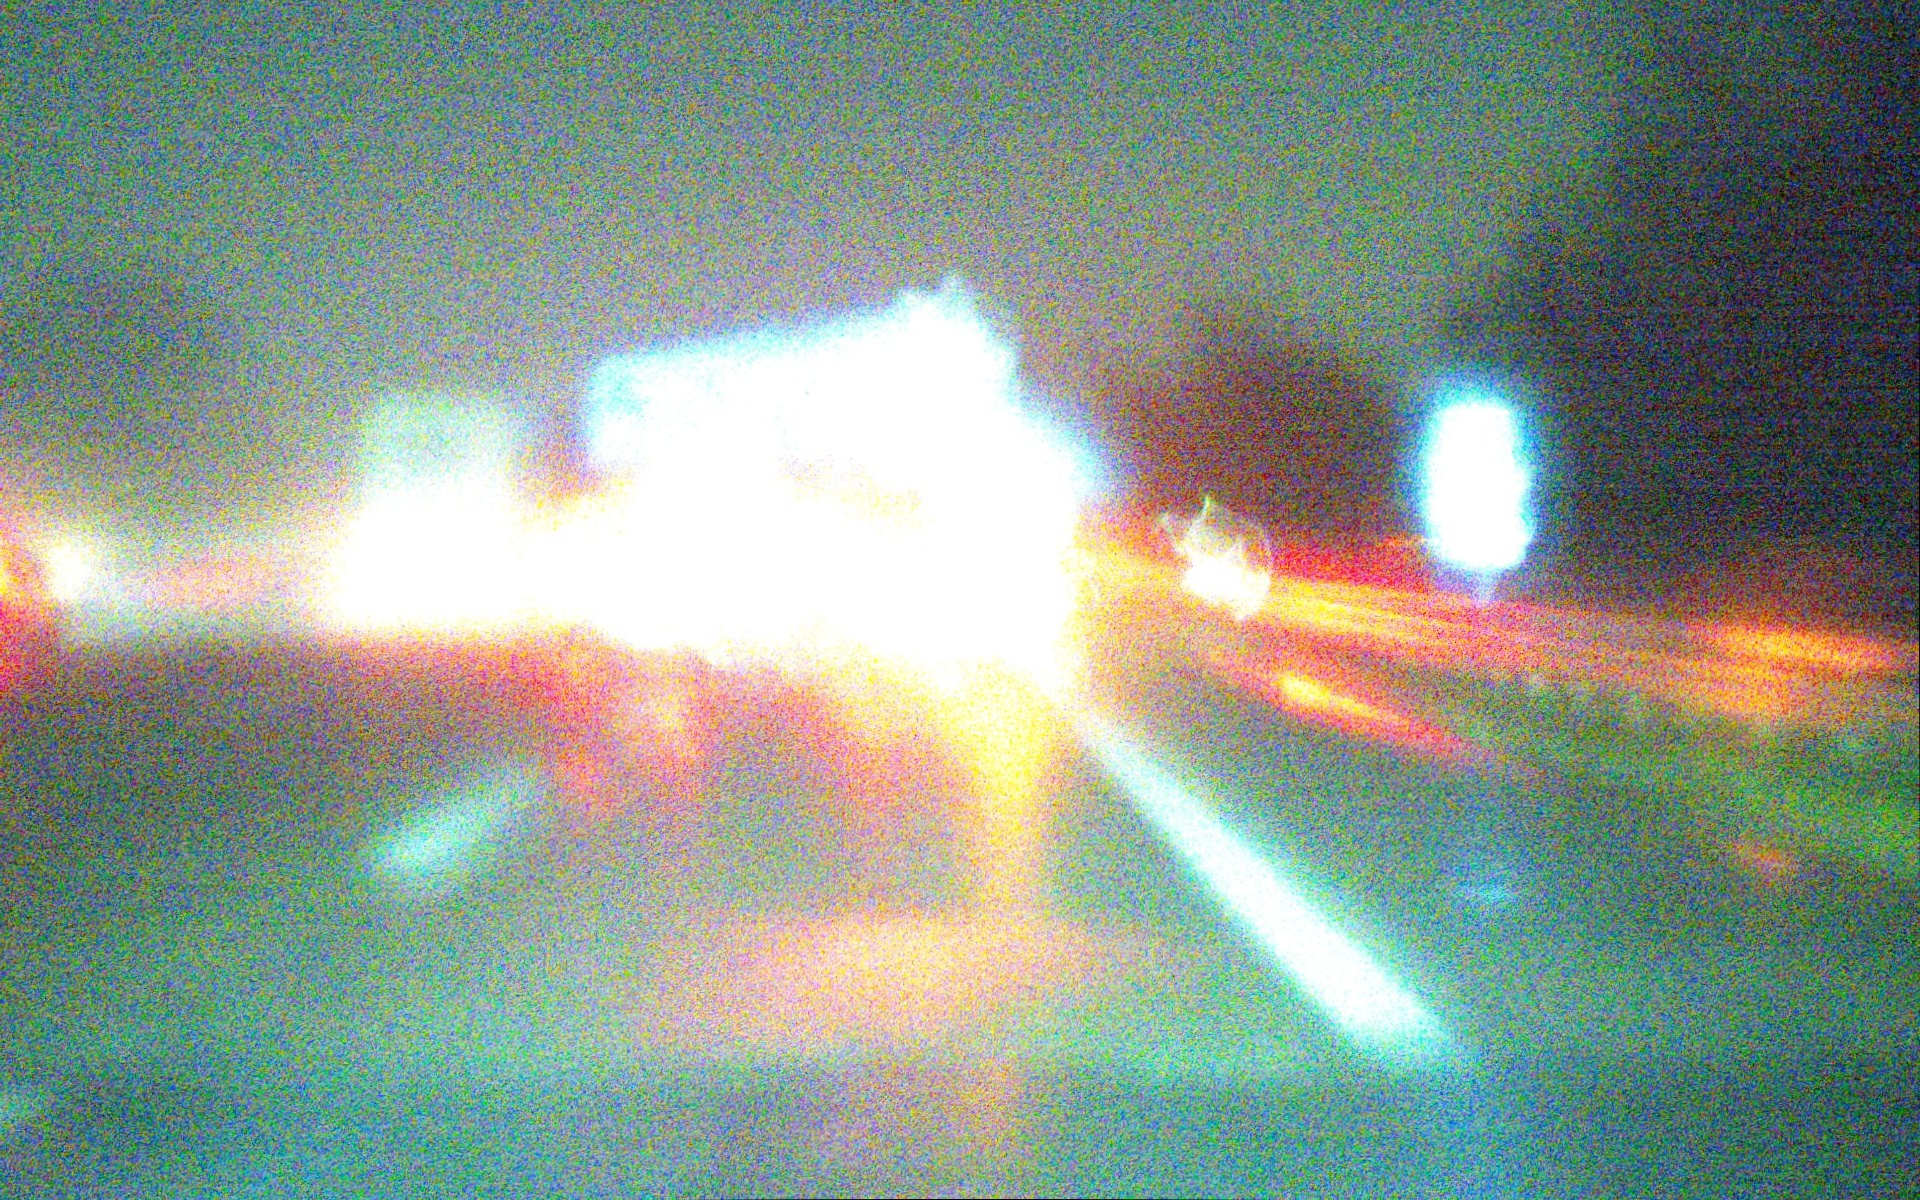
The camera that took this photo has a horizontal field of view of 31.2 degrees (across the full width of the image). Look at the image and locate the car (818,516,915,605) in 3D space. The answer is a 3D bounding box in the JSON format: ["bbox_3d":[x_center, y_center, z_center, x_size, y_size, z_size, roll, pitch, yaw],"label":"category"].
[{"bbox_3d":[-2.228,-0.929,80.843,2.125,2.007,4.646,1,0,-3],"label":"car"}]

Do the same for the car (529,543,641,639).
[{"bbox_3d":[-7.323,-0.189,67.437,1.993,1.801,4.001,1,0,-4],"label":"car"}]

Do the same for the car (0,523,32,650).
[{"bbox_3d":[-13.100,-0.191,43.669,1.993,1.590,4.001,1,1,-7],"label":"car"}]

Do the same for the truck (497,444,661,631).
[{"bbox_3d":[-12.083,-1.939,110.213,4.210,5.629,11.468,1,0,-1],"label":"truck"}]

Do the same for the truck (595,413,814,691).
[{"bbox_3d":[-5.462,-1.026,75.943,4.210,5.629,11.468,1,0,-1],"label":"truck"}]

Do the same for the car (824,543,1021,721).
[{"bbox_3d":[-0.414,0.309,37.156,1.993,1.801,4.000,1,0,-1],"label":"car"}]

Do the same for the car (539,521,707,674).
[{"bbox_3d":[-4.658,-0.054,48.090,2.125,2.007,4.646,1,0,-3],"label":"car"}]

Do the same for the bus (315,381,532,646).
[{"bbox_3d":[-9.873,-1.533,64.415,3.096,4.492,10.915,1,0,-4],"label":"bus"}]
